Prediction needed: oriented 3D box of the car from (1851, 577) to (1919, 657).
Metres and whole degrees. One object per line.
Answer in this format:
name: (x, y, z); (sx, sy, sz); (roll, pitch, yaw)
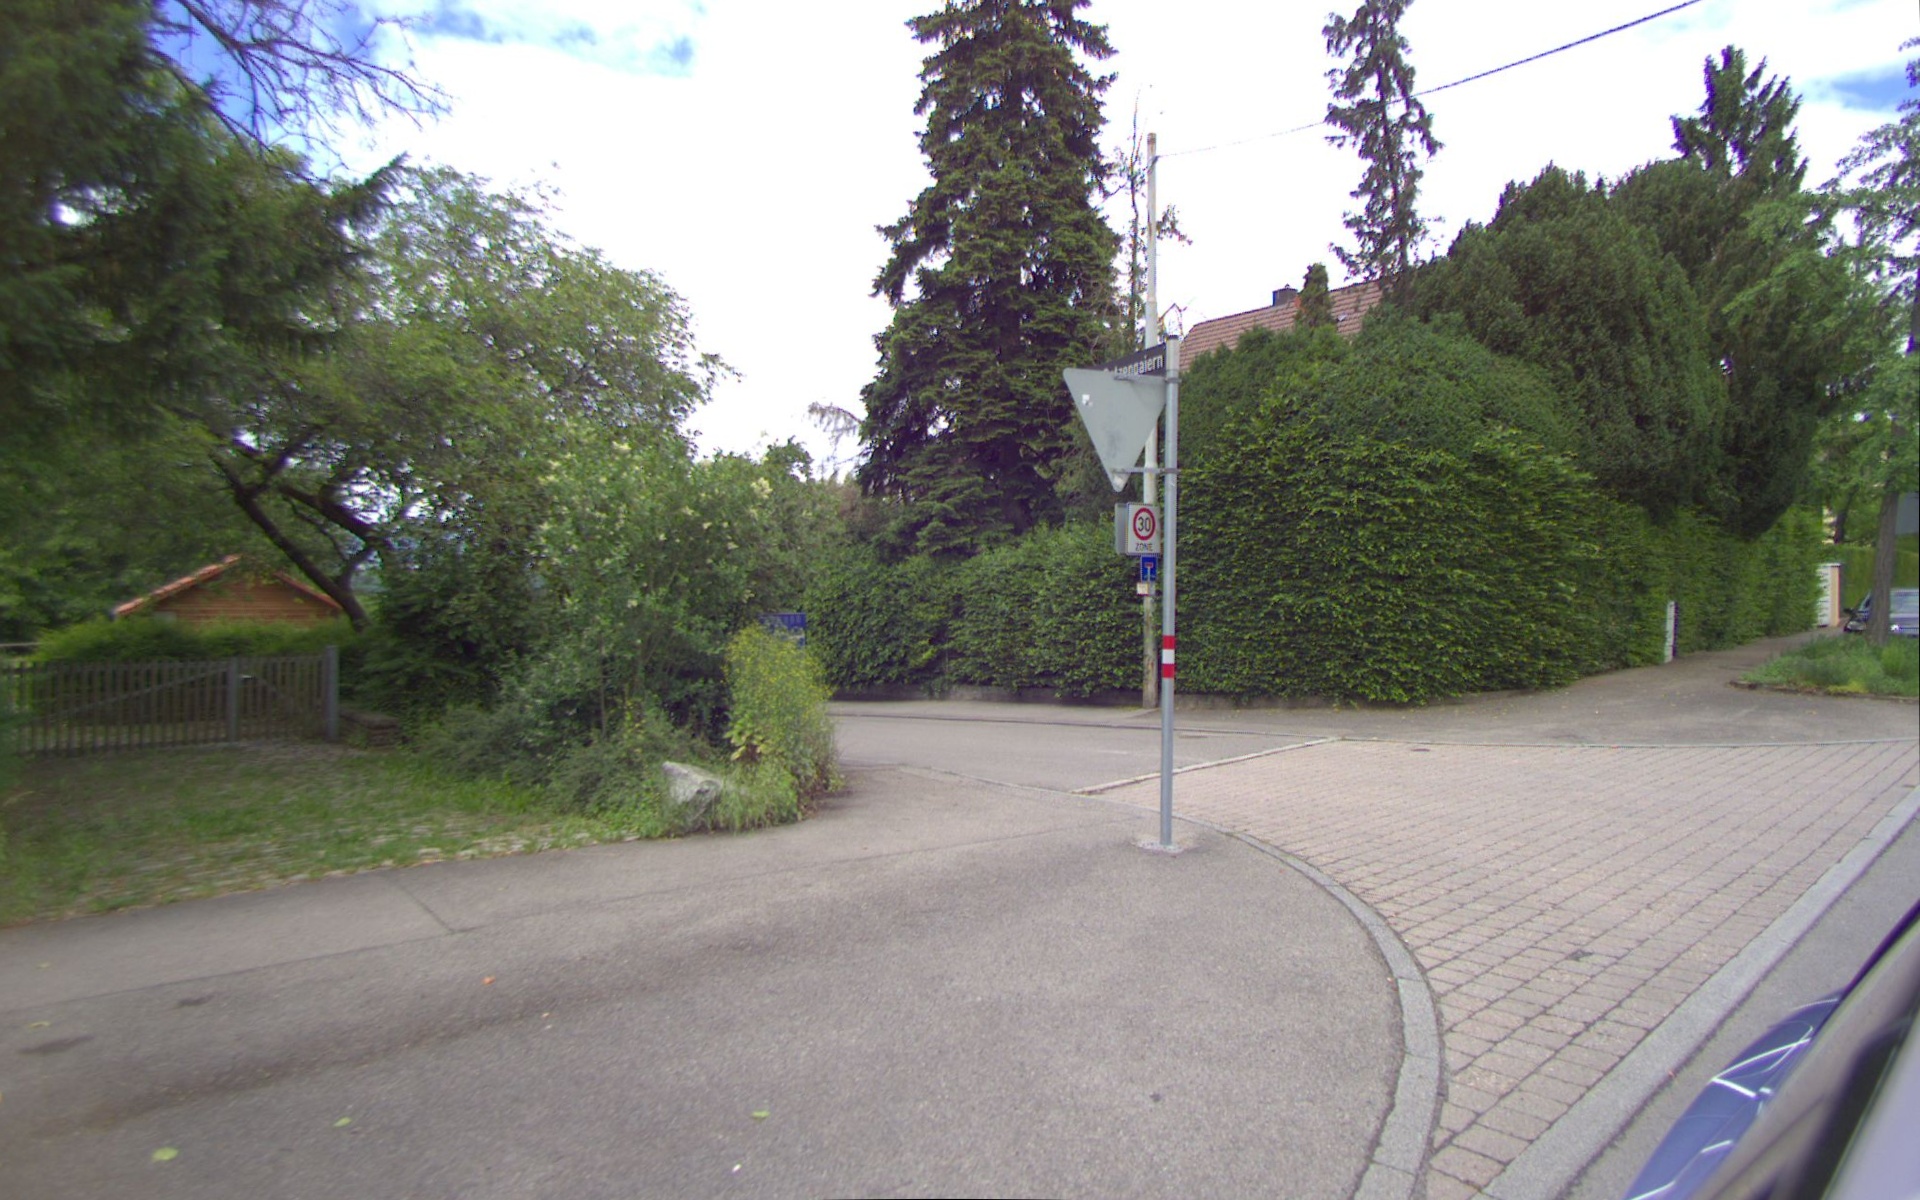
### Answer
car: (19.384, 0.292, 20.425); (3.675, 1.491, 1.626); (-2, 1, -41)
